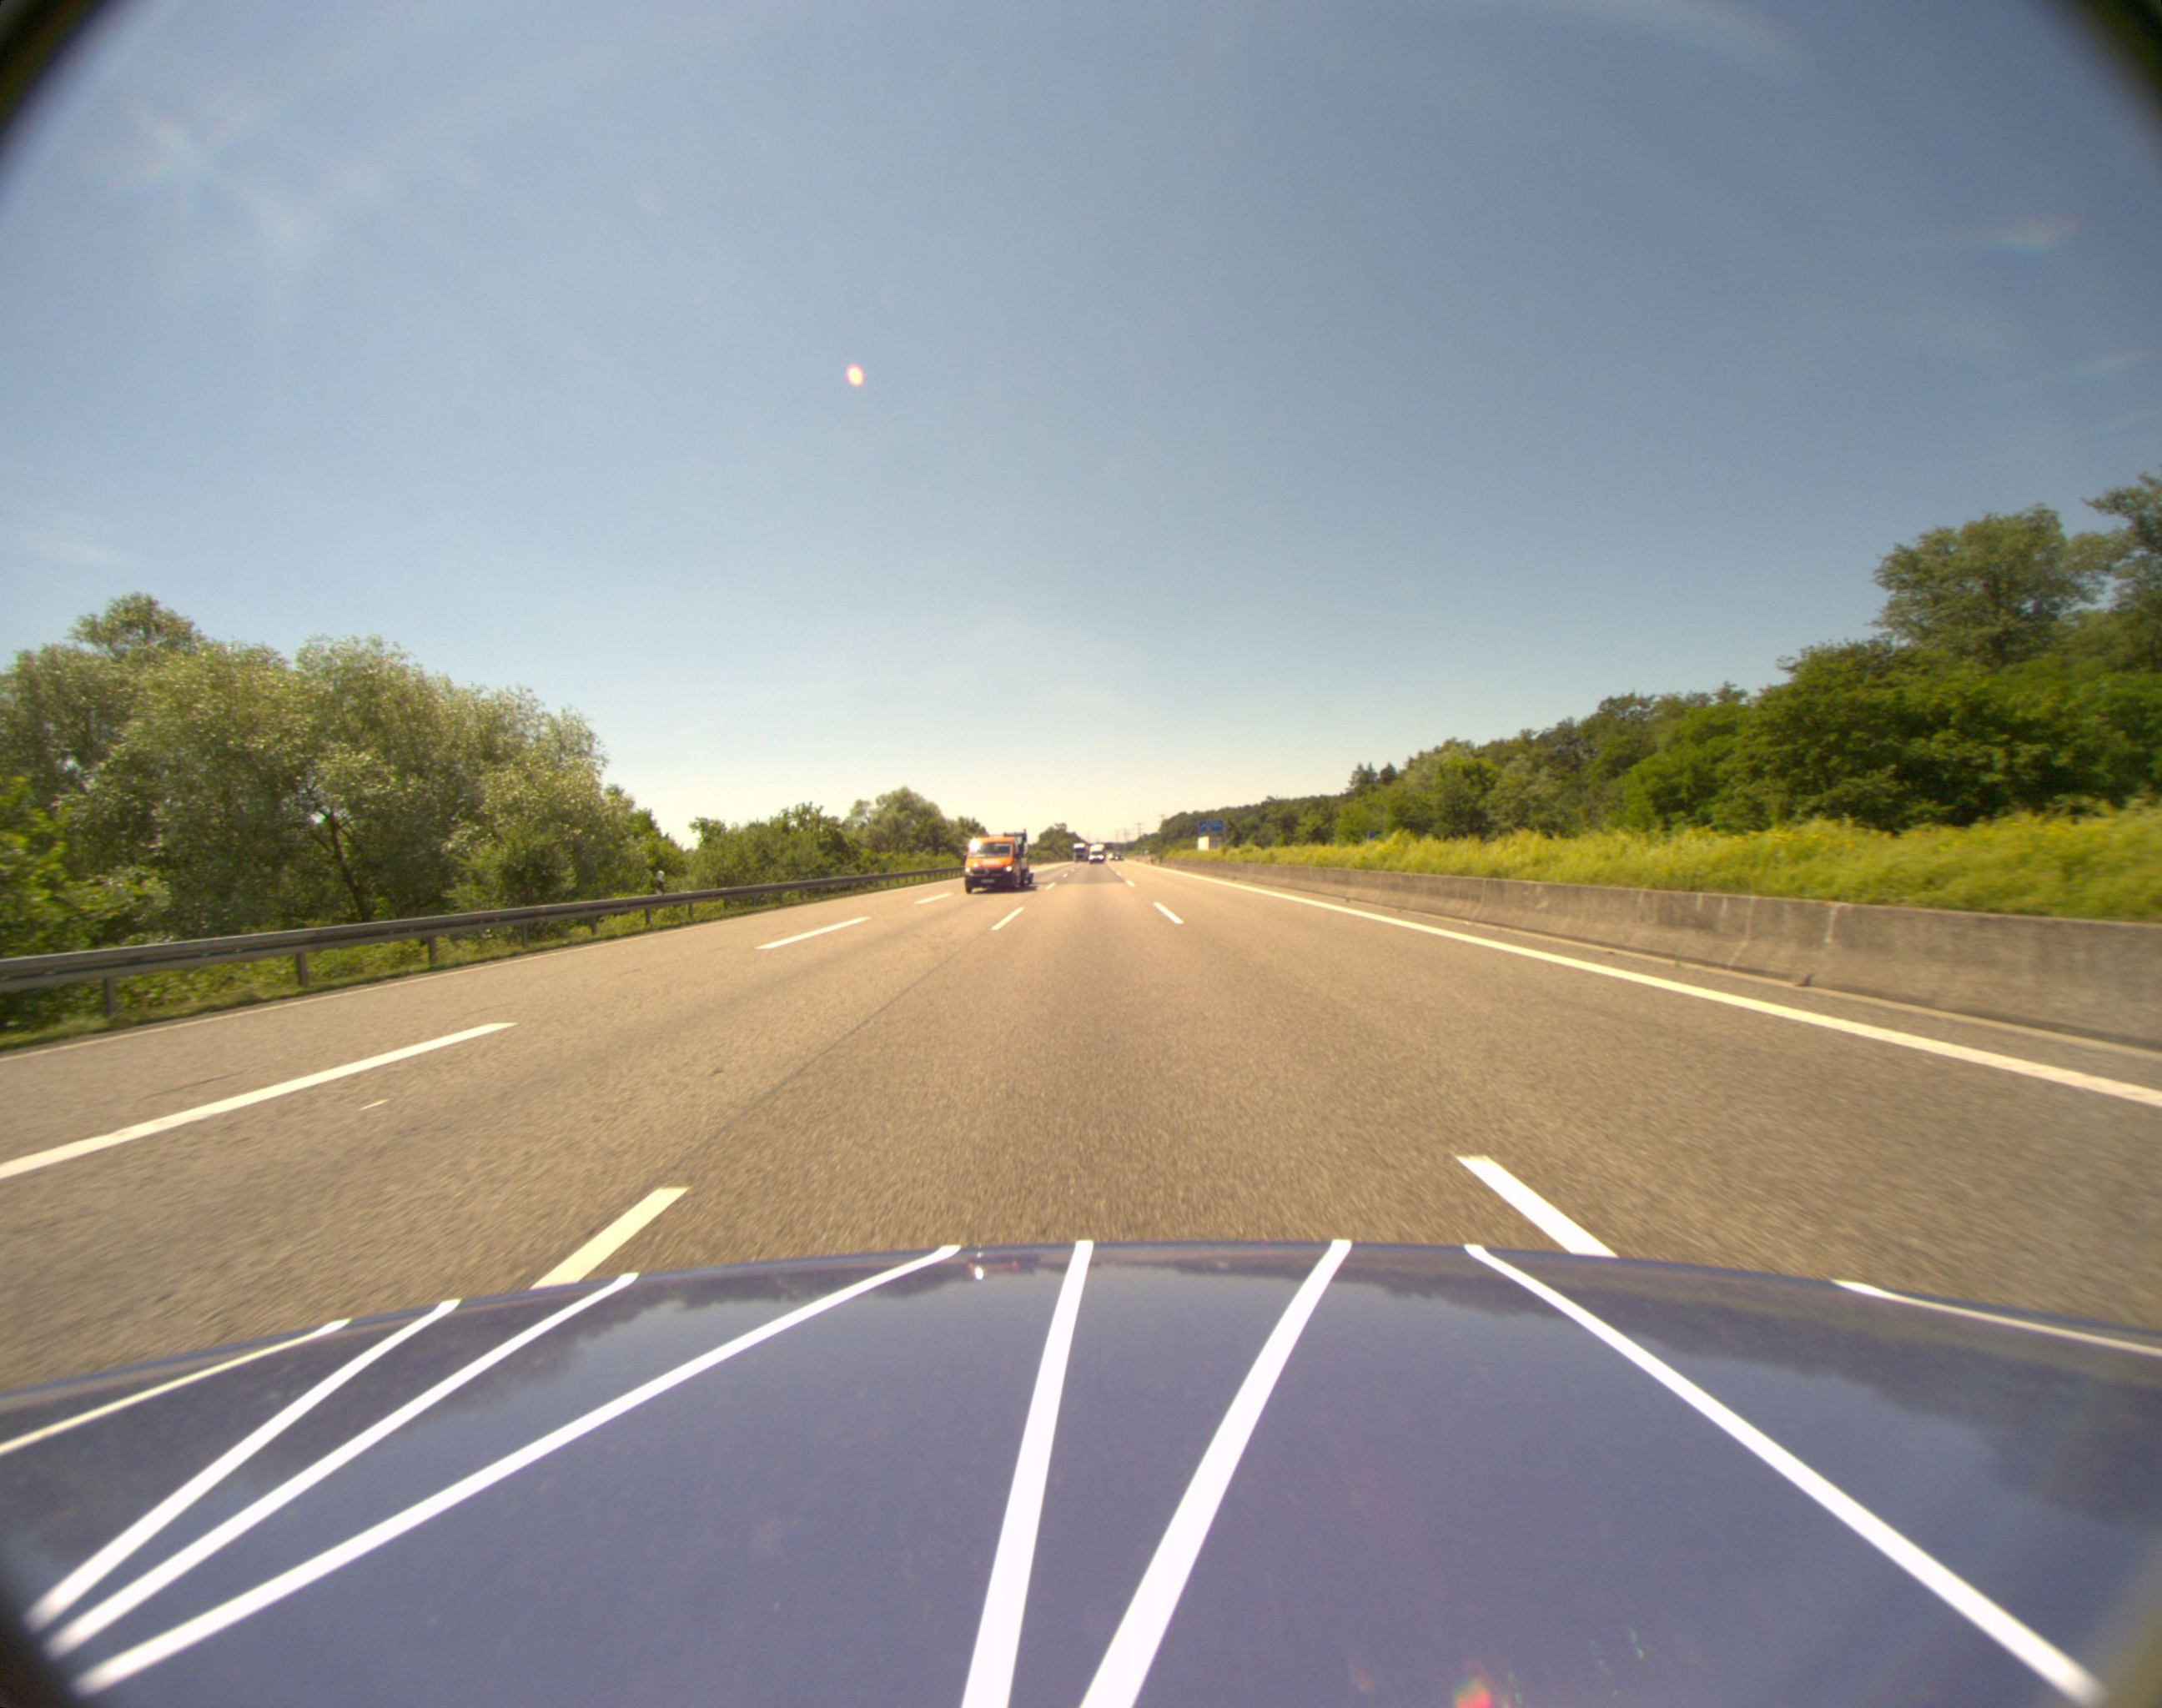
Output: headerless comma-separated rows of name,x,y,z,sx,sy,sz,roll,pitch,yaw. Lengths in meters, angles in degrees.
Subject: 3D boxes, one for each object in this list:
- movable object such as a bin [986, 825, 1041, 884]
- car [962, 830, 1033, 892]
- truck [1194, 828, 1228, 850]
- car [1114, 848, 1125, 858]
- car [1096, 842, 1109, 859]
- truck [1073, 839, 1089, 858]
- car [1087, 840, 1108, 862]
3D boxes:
movable object such as a bin,-3.423,0.052,39.492,2.179,2.799,4.761,-2,0,2
car,-3.507,0.290,33.626,1.998,2.391,7.227,-2,0,2
truck,24.756,-2.721,145.872,3.607,3.713,17.485,-2,0,1
car,8.133,-0.102,159.963,1.999,2.002,4.000,-2,0,-1
car,5.304,-0.976,188.736,2.797,4.090,7.305,-2,1,0
truck,0.135,-1.198,171.486,2.990,4.187,7.594,-3,0,3
car,2.427,-0.461,109.651,2.521,2.857,6.401,-5,0,3
